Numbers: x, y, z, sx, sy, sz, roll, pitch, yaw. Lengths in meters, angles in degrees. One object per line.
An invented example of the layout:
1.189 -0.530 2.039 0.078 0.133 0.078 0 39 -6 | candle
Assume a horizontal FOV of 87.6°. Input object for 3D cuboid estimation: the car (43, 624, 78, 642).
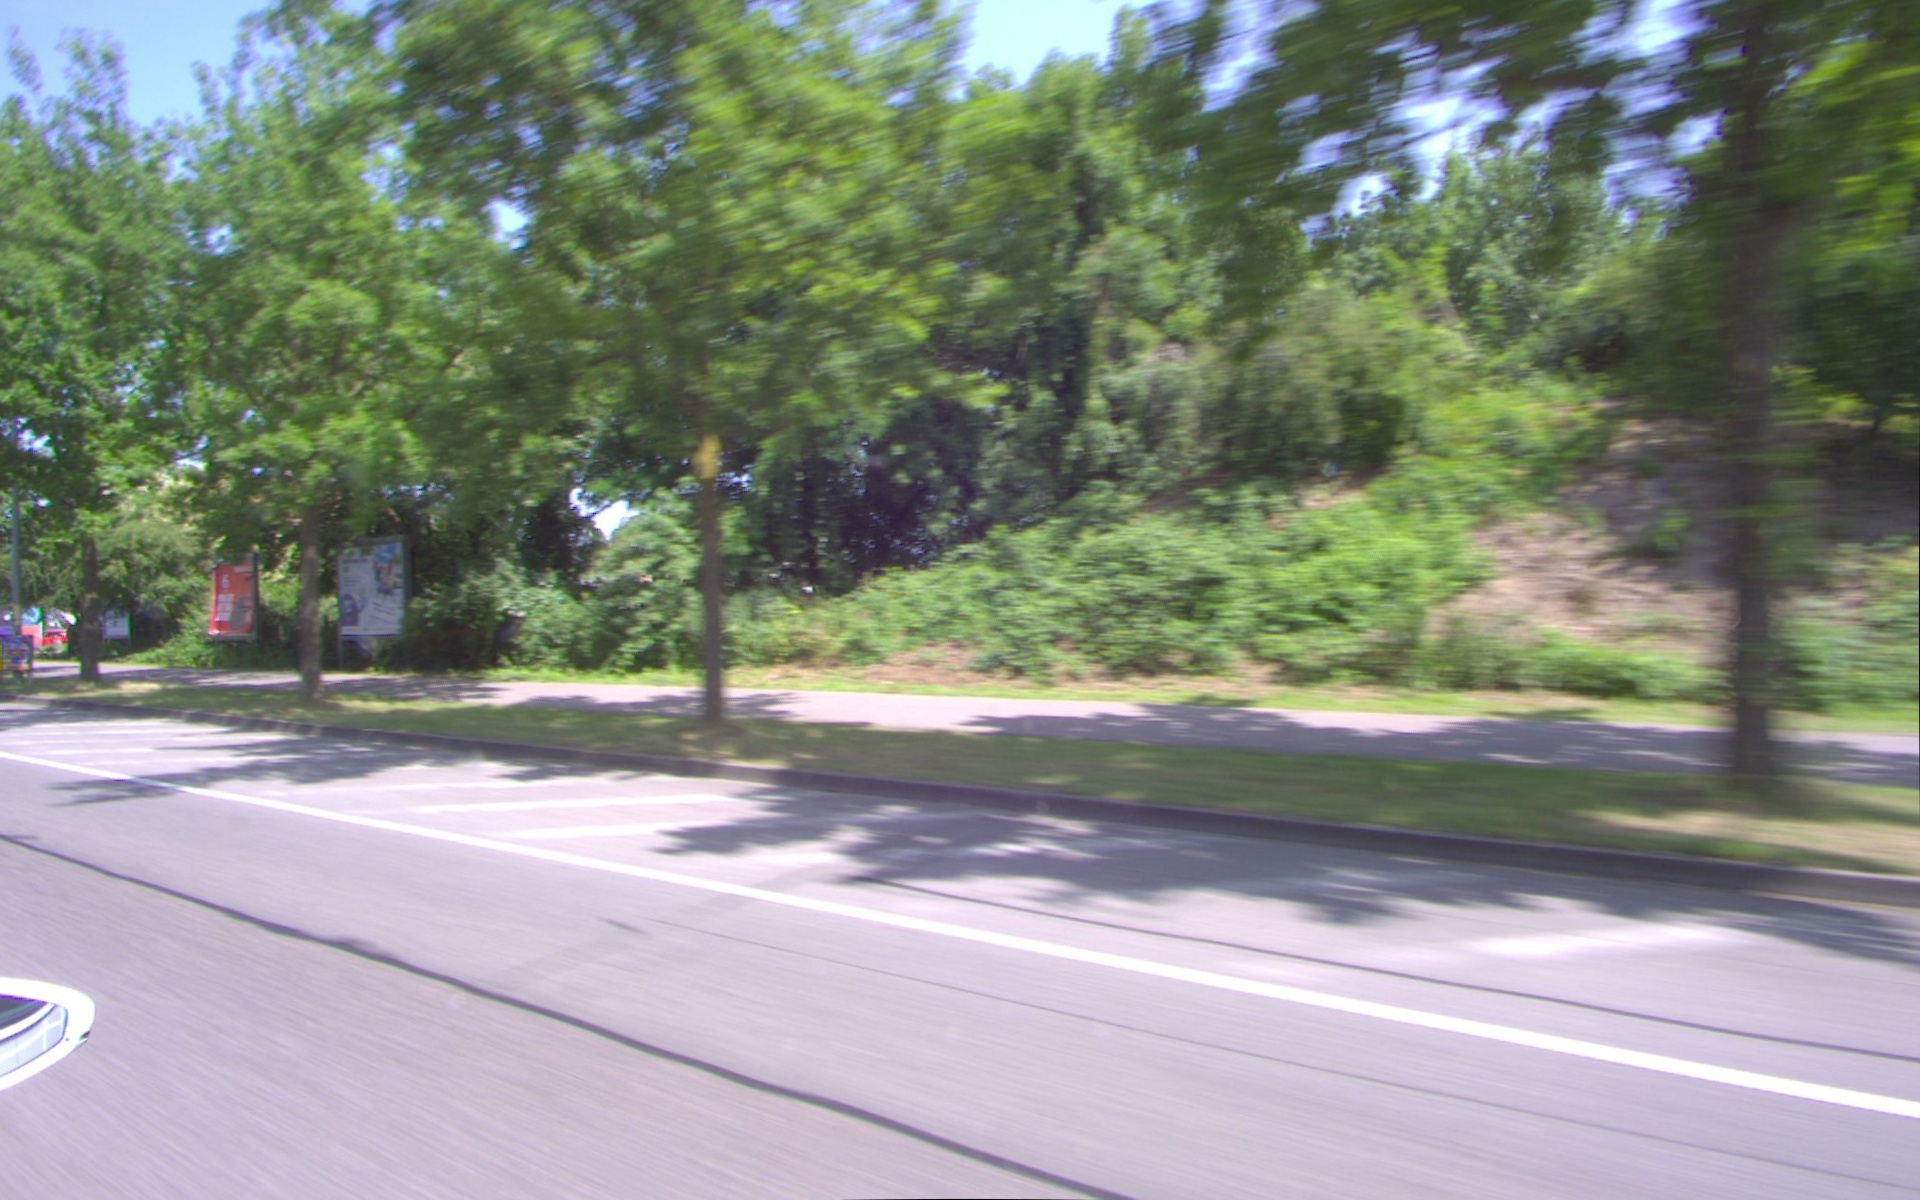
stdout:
-64.944 2.366 72.298 3.262 1.203 1.374 -1 0 39 | car
